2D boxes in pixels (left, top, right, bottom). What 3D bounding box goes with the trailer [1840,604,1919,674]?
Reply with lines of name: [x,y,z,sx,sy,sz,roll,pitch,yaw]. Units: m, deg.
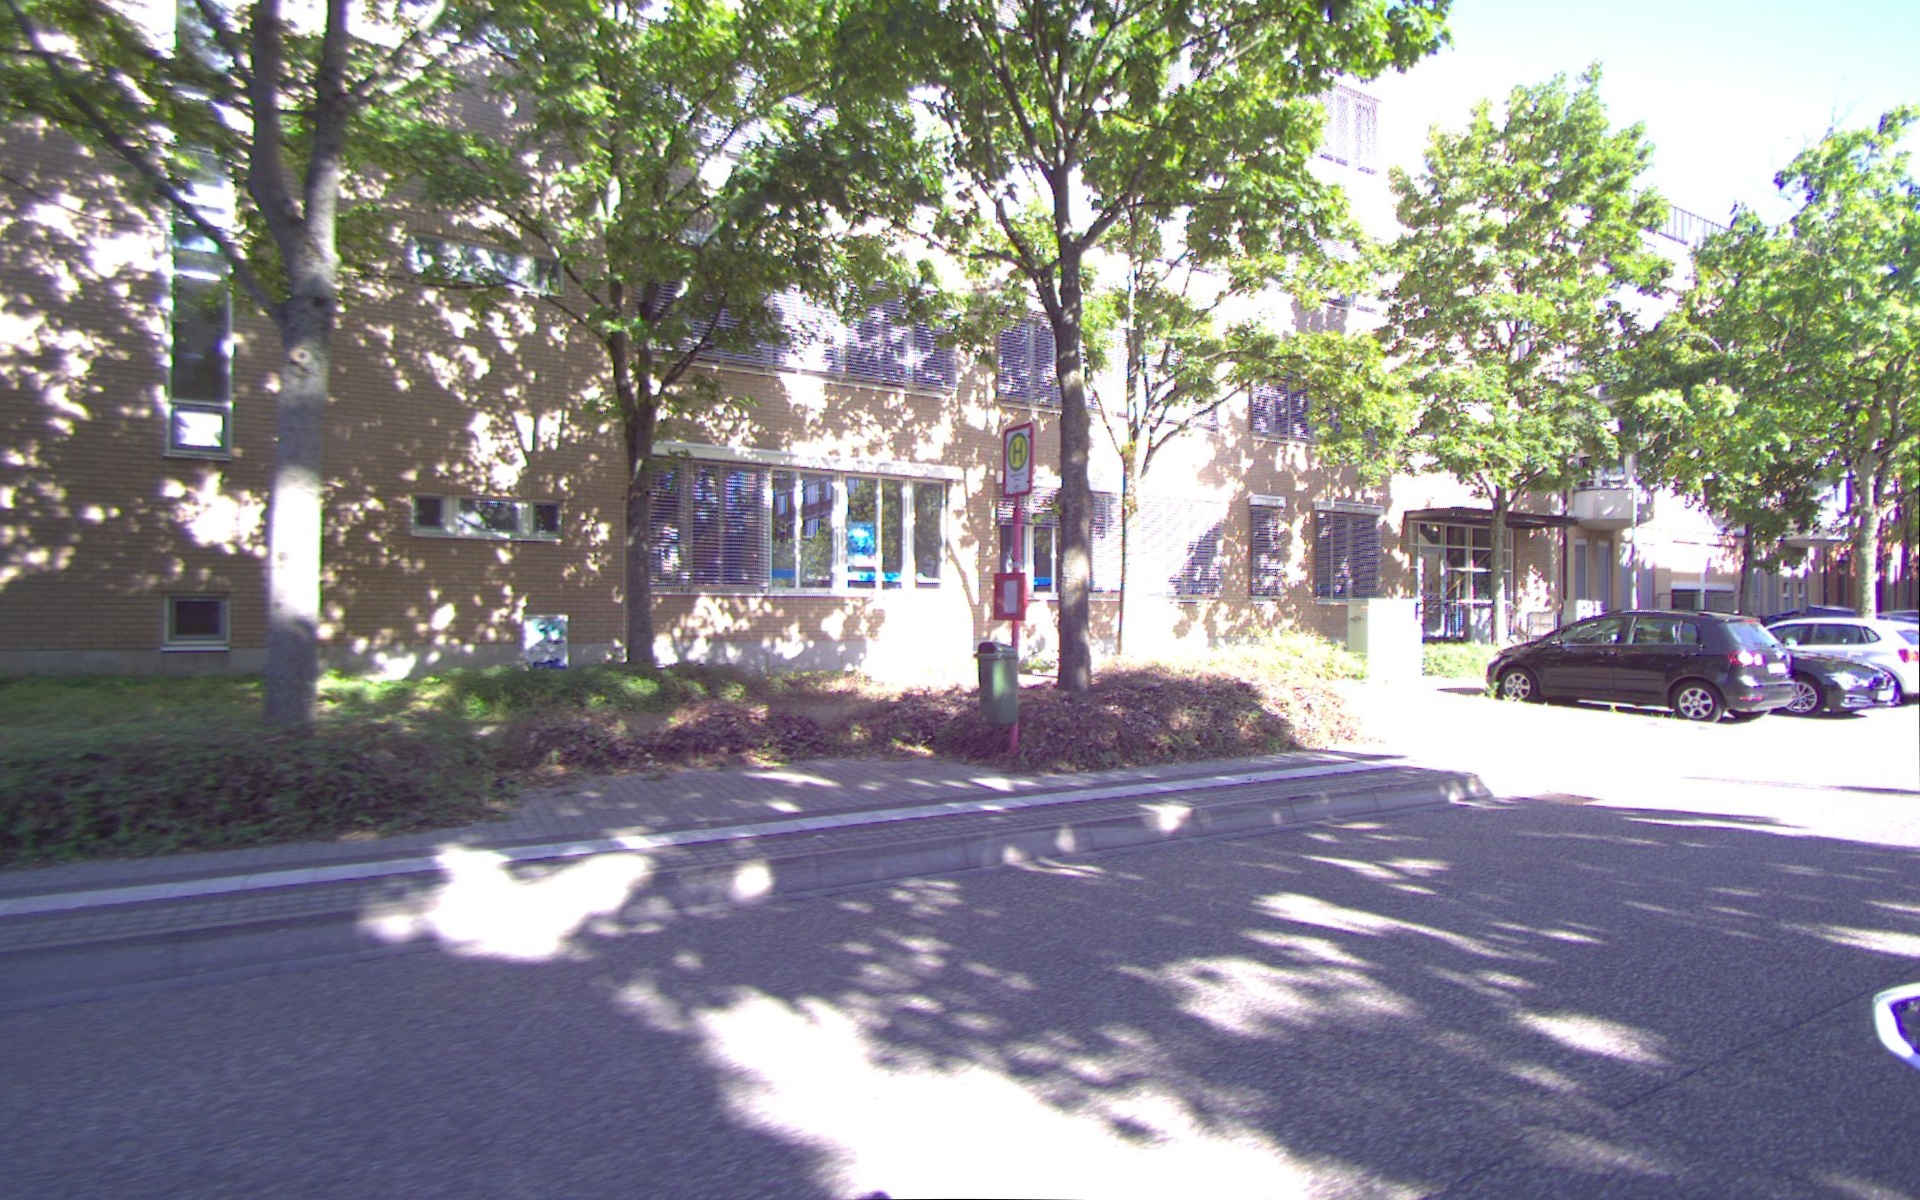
trailer: [23.382,0.932,23.217,1.836,1.593,4.235,1,1,-33]

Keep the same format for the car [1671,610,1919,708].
car: [15.448,0.974,18.263,1.733,1.472,3.736,0,1,-30]

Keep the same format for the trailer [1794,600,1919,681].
trailer: [20.958,0.879,22.792,1.691,1.710,2.713,0,1,-29]

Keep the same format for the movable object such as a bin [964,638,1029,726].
movable object such as a bin: [0.324,0.718,8.950,0.403,0.741,0.439,1,1,-30]

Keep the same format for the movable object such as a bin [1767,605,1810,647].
movable object such as a bin: [32.170,0.995,39.016,1.235,1.583,1.134,1,-1,-42]

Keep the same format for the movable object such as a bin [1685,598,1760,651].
movable object such as a bin: [26.907,0.845,35.470,1.643,1.820,1.593,0,-1,-28]

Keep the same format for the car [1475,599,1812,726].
car: [10.418,0.849,15.627,1.708,1.591,3.967,1,1,-30]

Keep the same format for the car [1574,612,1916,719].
car: [12.888,0.975,16.783,1.780,1.421,4.131,1,1,-30]

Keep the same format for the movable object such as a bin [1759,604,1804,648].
movable object such as a bin: [31.200,0.975,38.140,1.431,1.641,1.134,1,-1,-42]
